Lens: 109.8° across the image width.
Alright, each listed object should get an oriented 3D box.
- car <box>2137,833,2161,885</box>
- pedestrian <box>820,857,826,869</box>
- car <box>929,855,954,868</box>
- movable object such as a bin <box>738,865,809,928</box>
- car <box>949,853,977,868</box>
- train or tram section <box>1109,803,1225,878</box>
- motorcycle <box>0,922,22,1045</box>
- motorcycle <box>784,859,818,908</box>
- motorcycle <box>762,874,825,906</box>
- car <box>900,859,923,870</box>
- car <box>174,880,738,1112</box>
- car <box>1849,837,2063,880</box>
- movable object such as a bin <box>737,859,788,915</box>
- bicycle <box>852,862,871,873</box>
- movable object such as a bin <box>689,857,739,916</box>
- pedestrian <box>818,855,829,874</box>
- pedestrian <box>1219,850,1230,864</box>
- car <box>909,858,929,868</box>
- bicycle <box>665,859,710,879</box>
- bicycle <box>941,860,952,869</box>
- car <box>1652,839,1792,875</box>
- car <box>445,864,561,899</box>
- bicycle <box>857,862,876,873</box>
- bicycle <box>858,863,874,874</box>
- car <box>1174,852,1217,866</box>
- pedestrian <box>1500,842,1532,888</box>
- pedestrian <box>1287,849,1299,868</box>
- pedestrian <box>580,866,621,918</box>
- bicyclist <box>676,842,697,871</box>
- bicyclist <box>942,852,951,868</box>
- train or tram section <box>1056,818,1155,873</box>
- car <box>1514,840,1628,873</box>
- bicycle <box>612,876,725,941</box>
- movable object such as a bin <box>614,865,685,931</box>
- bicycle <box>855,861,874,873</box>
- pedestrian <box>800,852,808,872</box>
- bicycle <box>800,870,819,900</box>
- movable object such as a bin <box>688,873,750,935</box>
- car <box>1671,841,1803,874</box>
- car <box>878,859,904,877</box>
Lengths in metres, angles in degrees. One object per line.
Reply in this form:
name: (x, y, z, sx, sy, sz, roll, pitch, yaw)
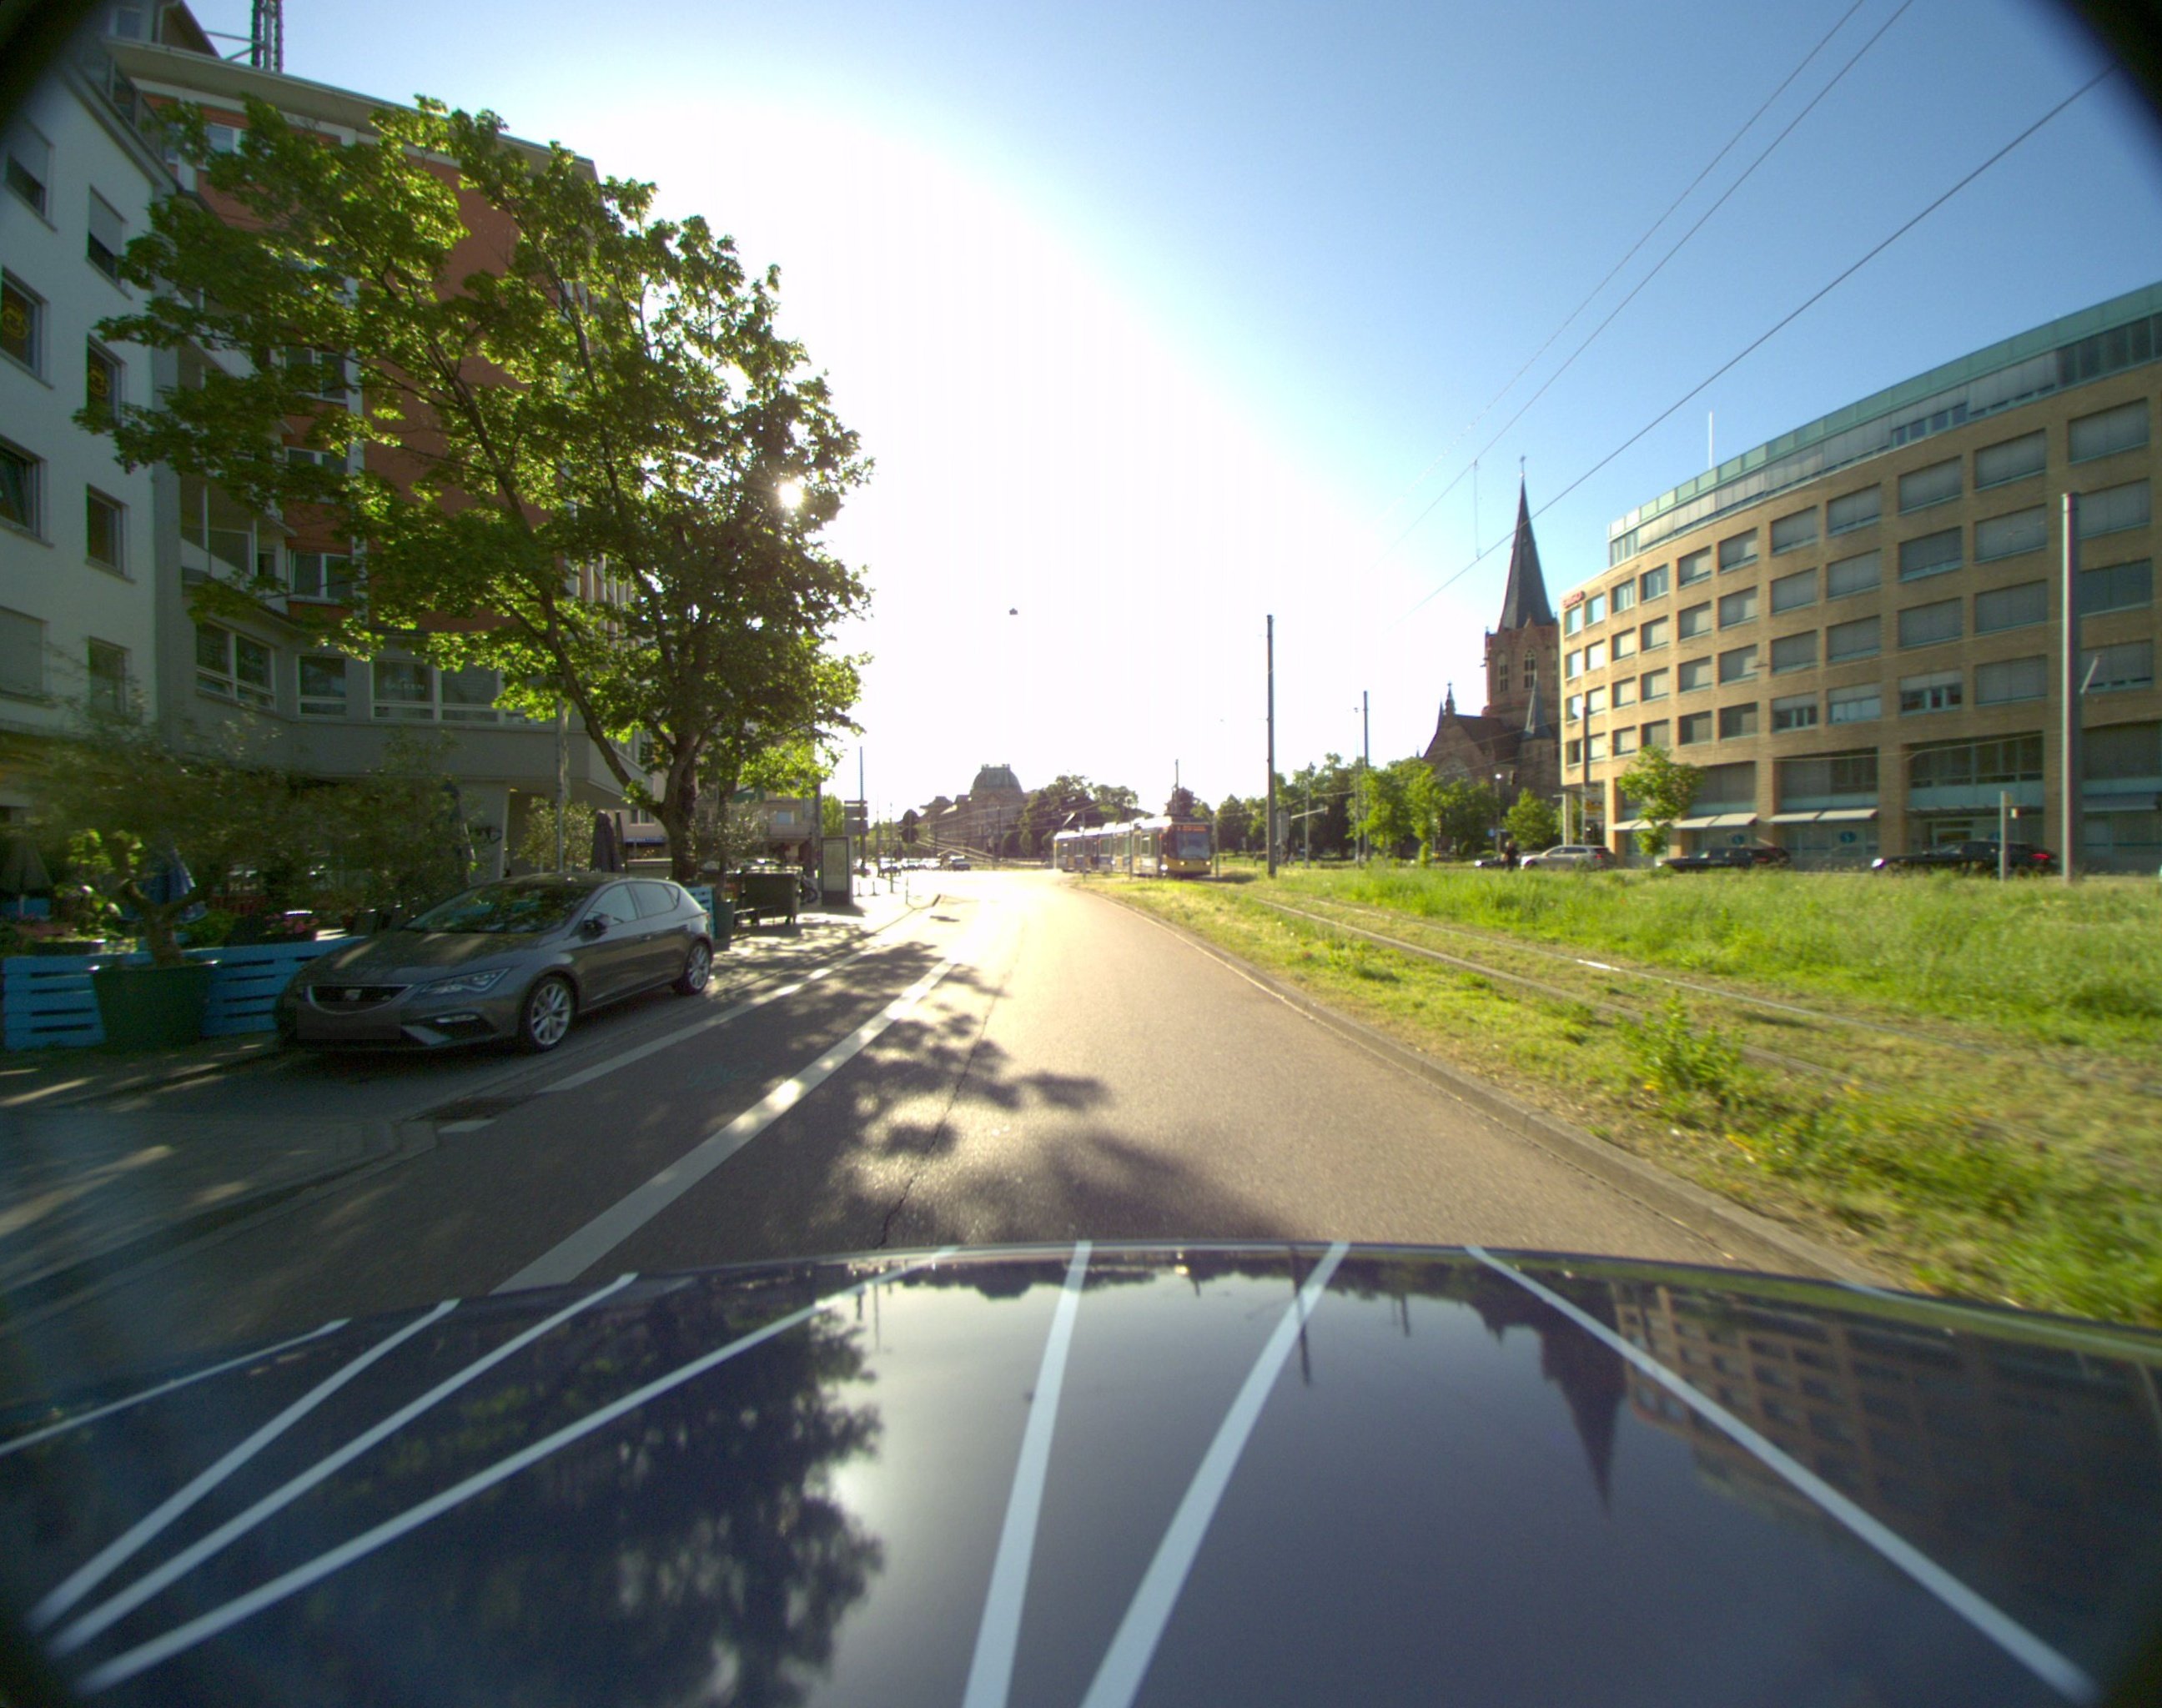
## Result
car: (36.197, 0.157, 22.995, 2.002, 1.587, 4.647, -3, 1, -24)
pedestrian: (-37.567, 1.325, 110.584, 0.773, 1.641, 0.671, -2, 1, -10)
car: (-16.919, 0.903, 91.972, 2.002, 1.421, 4.124, -3, 1, -22)
movable object such as a bin: (-7.334, 1.000, 18.210, 1.284, 1.383, 0.921, -3, 2, -4)
car: (-12.824, 0.697, 82.418, 2.002, 1.528, 4.348, -3, 1, -22)
train or tram section: (4.523, -0.645, 44.209, 2.959, 3.664, 13.172, -2, 0, -10)
motorcycle: (-10.199, 1.229, 5.920, 0.778, 1.120, 2.295, -3, 1, -7)
motorcycle: (-9.576, 0.971, 26.070, 0.805, 1.531, 2.541, -3, 1, -16)
motorcycle: (-10.527, 1.313, 27.865, 2.105, 1.016, 0.761, -3, 1, -21)
car: (-20.998, 1.232, 94.095, 1.990, 1.284, 4.385, -2, 0, -22)
car: (-5.297, 1.047, 7.480, 1.770, 1.430, 4.583, 0, 0, 0)
car: (33.481, 0.136, 29.318, 2.001, 1.439, 5.010, -3, 1, -20)
movable object such as a bin: (-9.816, 0.982, 23.438, 1.386, 1.630, 1.006, -2, 1, -23)
bicycle: (-21.896, 1.351, 75.724, 1.777, 1.049, 0.414, 0, 0, -23)
movable object such as a bin: (-11.087, 0.959, 23.008, 1.261, 1.699, 0.943, -1, 2, -23)
pedestrian: (-26.341, 1.072, 77.761, 0.867, 1.824, 1.208, -2, 1, -23)
pedestrian: (18.890, 0.369, 100.174, 0.846, 1.836, 1.113, -3, 2, -25)
car: (-22.389, 1.179, 104.981, 1.861, 1.284, 4.088, -2, 0, -22)
bicycle: (-21.932, 0.814, 42.379, 2.151, 0.995, 0.859, -3, 2, -24)
bicycle: (-15.381, 1.165, 86.707, 0.632, 0.934, 1.902, -3, 2, -27)
car: (30.296, 0.126, 36.078, 2.002, 1.508, 4.652, -3, 1, -24)
car: (-28.142, 1.325, 37.153, 4.168, 1.419, 1.573, -2, 3, -24)
bicycle: (-20.579, 1.320, 72.942, 1.707, 1.005, 0.410, 0, 1, -25)
bicycle: (-20.317, 1.384, 71.902, 1.435, 1.005, 0.410, 0, 1, -21)
car: (13.548, 0.615, 89.897, 4.700, 1.565, 1.772, -1, 2, 38)
pedestrian: (15.996, 0.413, 27.954, 0.735, 1.661, 0.745, -1, 1, 4)
pedestrian: (22.998, 0.454, 82.395, 0.880, 2.002, 0.923, -3, 2, -21)
pedestrian: (-17.735, 1.387, 28.077, 0.828, 1.834, 0.891, -2, 2, 0)
bicyclist: (-21.988, 0.122, 42.349, 0.936, 1.551, 0.939, -3, 2, -24)
bicyclist: (-15.394, 0.679, 86.675, 0.705, 1.720, 0.852, -3, 2, -27)
train or tram section: (1.428, -0.523, 57.035, 2.961, 3.591, 13.614, -2, 0, -18)
car: (27.635, 0.138, 43.080, 2.109, 1.724, 5.076, -2, 0, -24)
bicycle: (-8.552, 1.107, 15.752, 2.164, 1.243, 0.901, -1, 1, 24)
movable object such as a bin: (-9.867, 0.991, 17.433, 1.218, 1.383, 0.958, -3, 2, -21)
bicycle: (-21.056, 1.290, 73.981, 1.757, 1.093, 0.398, -1, 1, -24)
pedestrian: (-24.453, 0.735, 67.156, 0.569, 1.763, 0.663, -2, 1, -15)
bicycle: (-11.096, 1.246, 31.052, 0.477, 1.110, 2.115, -3, 2, -25)
movable object such as a bin: (-8.601, 1.160, 18.097, 1.177, 1.348, 0.926, -3, 2, -21)
car: (36.563, 0.166, 42.537, 2.127, 1.659, 5.201, -3, 1, -23)
car: (-19.005, 1.340, 75.811, 1.905, 1.677, 4.110, -2, 0, -23)
